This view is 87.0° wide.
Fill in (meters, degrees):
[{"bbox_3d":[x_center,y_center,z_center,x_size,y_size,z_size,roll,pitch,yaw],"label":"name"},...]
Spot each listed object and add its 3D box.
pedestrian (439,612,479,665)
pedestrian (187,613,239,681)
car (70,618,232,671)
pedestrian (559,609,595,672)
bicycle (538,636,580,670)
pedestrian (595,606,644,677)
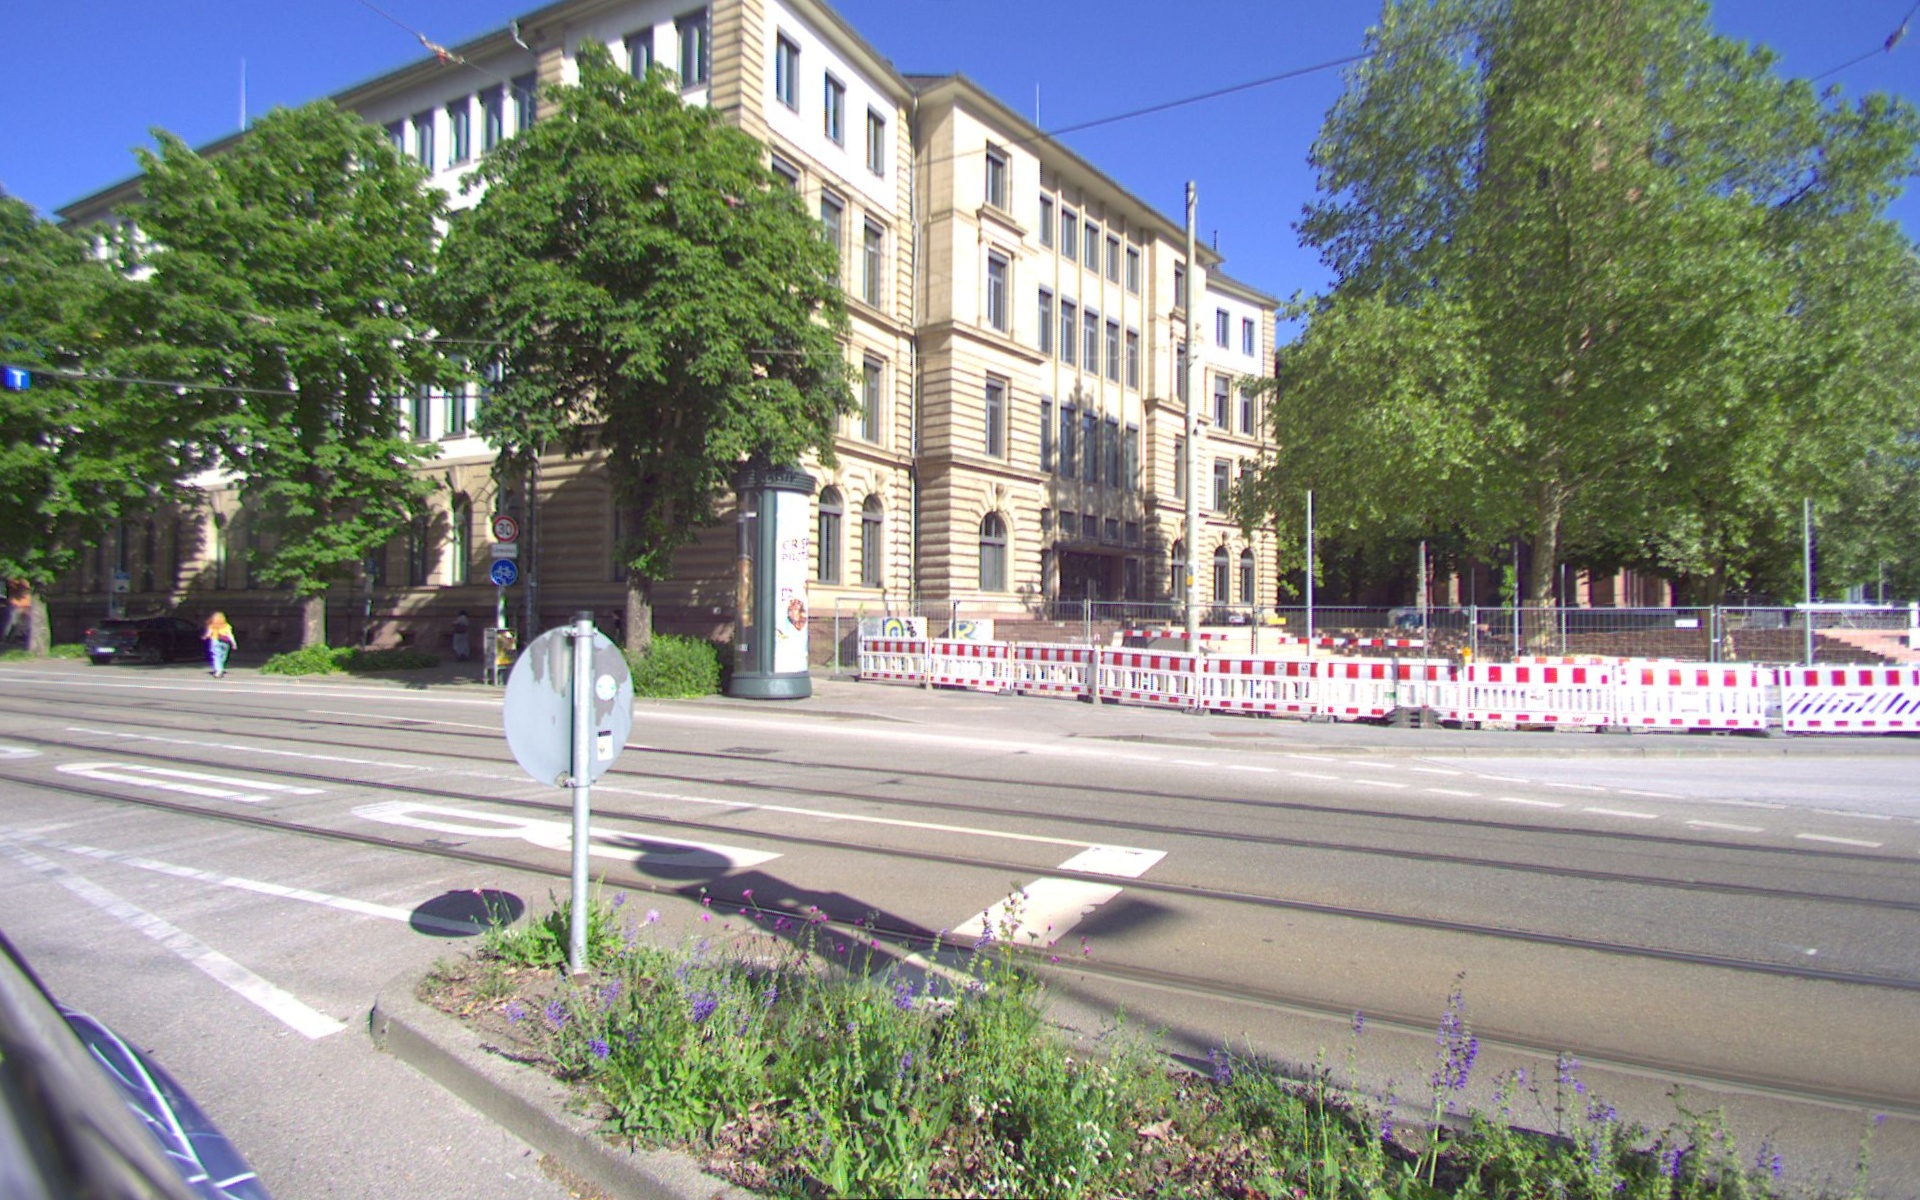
[{"bbox_3d":[-15.513,1.189,31.343,0.853,1.578,0.668,0,2,24],"label":"pedestrian"},{"bbox_3d":[-19.449,1.228,26.338,1.031,1.682,0.763,-6,-6,34],"label":"pedestrian"},{"bbox_3d":[-26.017,1.397,32.748,1.895,1.586,4.108,0,-2,1],"label":"car"},{"bbox_3d":[-9.867,1.038,26.054,0.651,1.574,0.573,-1,-2,29],"label":"pedestrian"},{"bbox_3d":[-11.474,1.504,28.946,1.356,0.910,0.394,0,0,31],"label":"bicycle"},{"bbox_3d":[-8.401,1.003,24.993,0.838,1.682,0.726,2,0,15],"label":"pedestrian"}]
